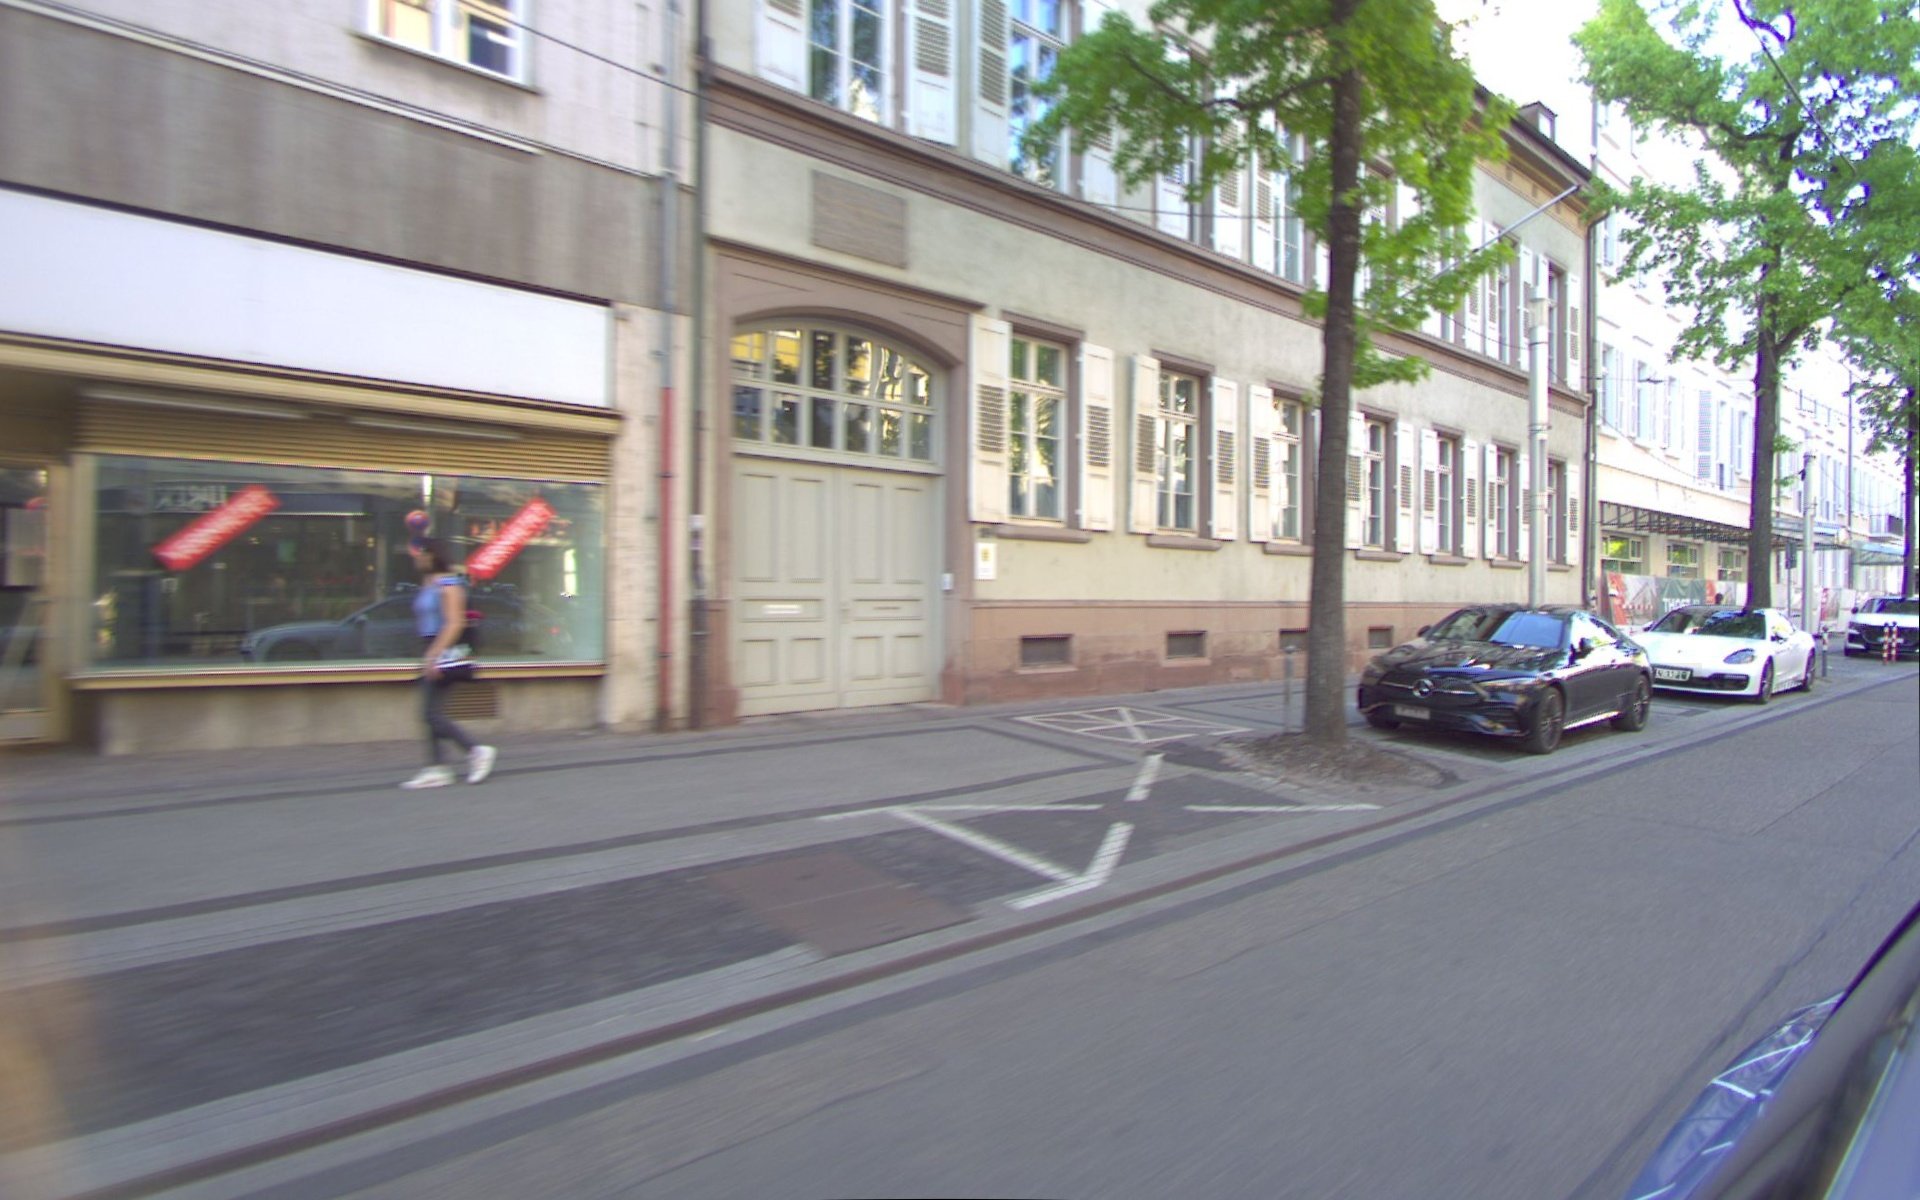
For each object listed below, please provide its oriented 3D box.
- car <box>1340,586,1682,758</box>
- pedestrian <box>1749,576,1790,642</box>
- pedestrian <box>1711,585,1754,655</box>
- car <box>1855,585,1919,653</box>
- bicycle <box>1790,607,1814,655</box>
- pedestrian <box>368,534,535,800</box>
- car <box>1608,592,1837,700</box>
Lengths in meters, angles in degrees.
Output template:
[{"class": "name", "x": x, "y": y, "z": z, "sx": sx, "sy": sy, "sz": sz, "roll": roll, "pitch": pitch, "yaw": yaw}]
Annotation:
[{"class": "car", "x": 6.363, "y": 0.639, "z": 11.436, "sx": 4.678, "sy": 1.496, "sz": 1.837, "roll": 0, "pitch": 3, "yaw": -41}, {"class": "pedestrian", "x": 24.013, "y": 0.267, "z": 30.021, "sx": 1.034, "sy": 1.910, "sz": 0.714, "roll": 0, "pitch": 1, "yaw": -40}, {"class": "pedestrian", "x": 17.786, "y": 0.449, "z": 23.302, "sx": 0.784, "sy": 1.593, "sz": 0.650, "roll": 0, "pitch": 0, "yaw": -40}, {"class": "car", "x": 26.469, "y": 0.484, "z": 28.034, "sx": 4.884, "sy": 1.708, "sz": 2.000, "roll": -1, "pitch": 3, "yaw": -43}, {"class": "bicycle", "x": 21.106, "y": 0.753, "z": 25.371, "sx": 0.417, "sy": 1.114, "sz": 1.959, "roll": 2, "pitch": 2, "yaw": 40}, {"class": "pedestrian", "x": -3.489, "y": 0.409, "z": 6.940, "sx": 0.872, "sy": 1.685, "sz": 0.659, "roll": 0, "pitch": 2, "yaw": -41}, {"class": "car", "x": 12.601, "y": 0.650, "z": 16.610, "sx": 4.800, "sy": 1.438, "sz": 1.917, "roll": 0, "pitch": 3, "yaw": -40}]
